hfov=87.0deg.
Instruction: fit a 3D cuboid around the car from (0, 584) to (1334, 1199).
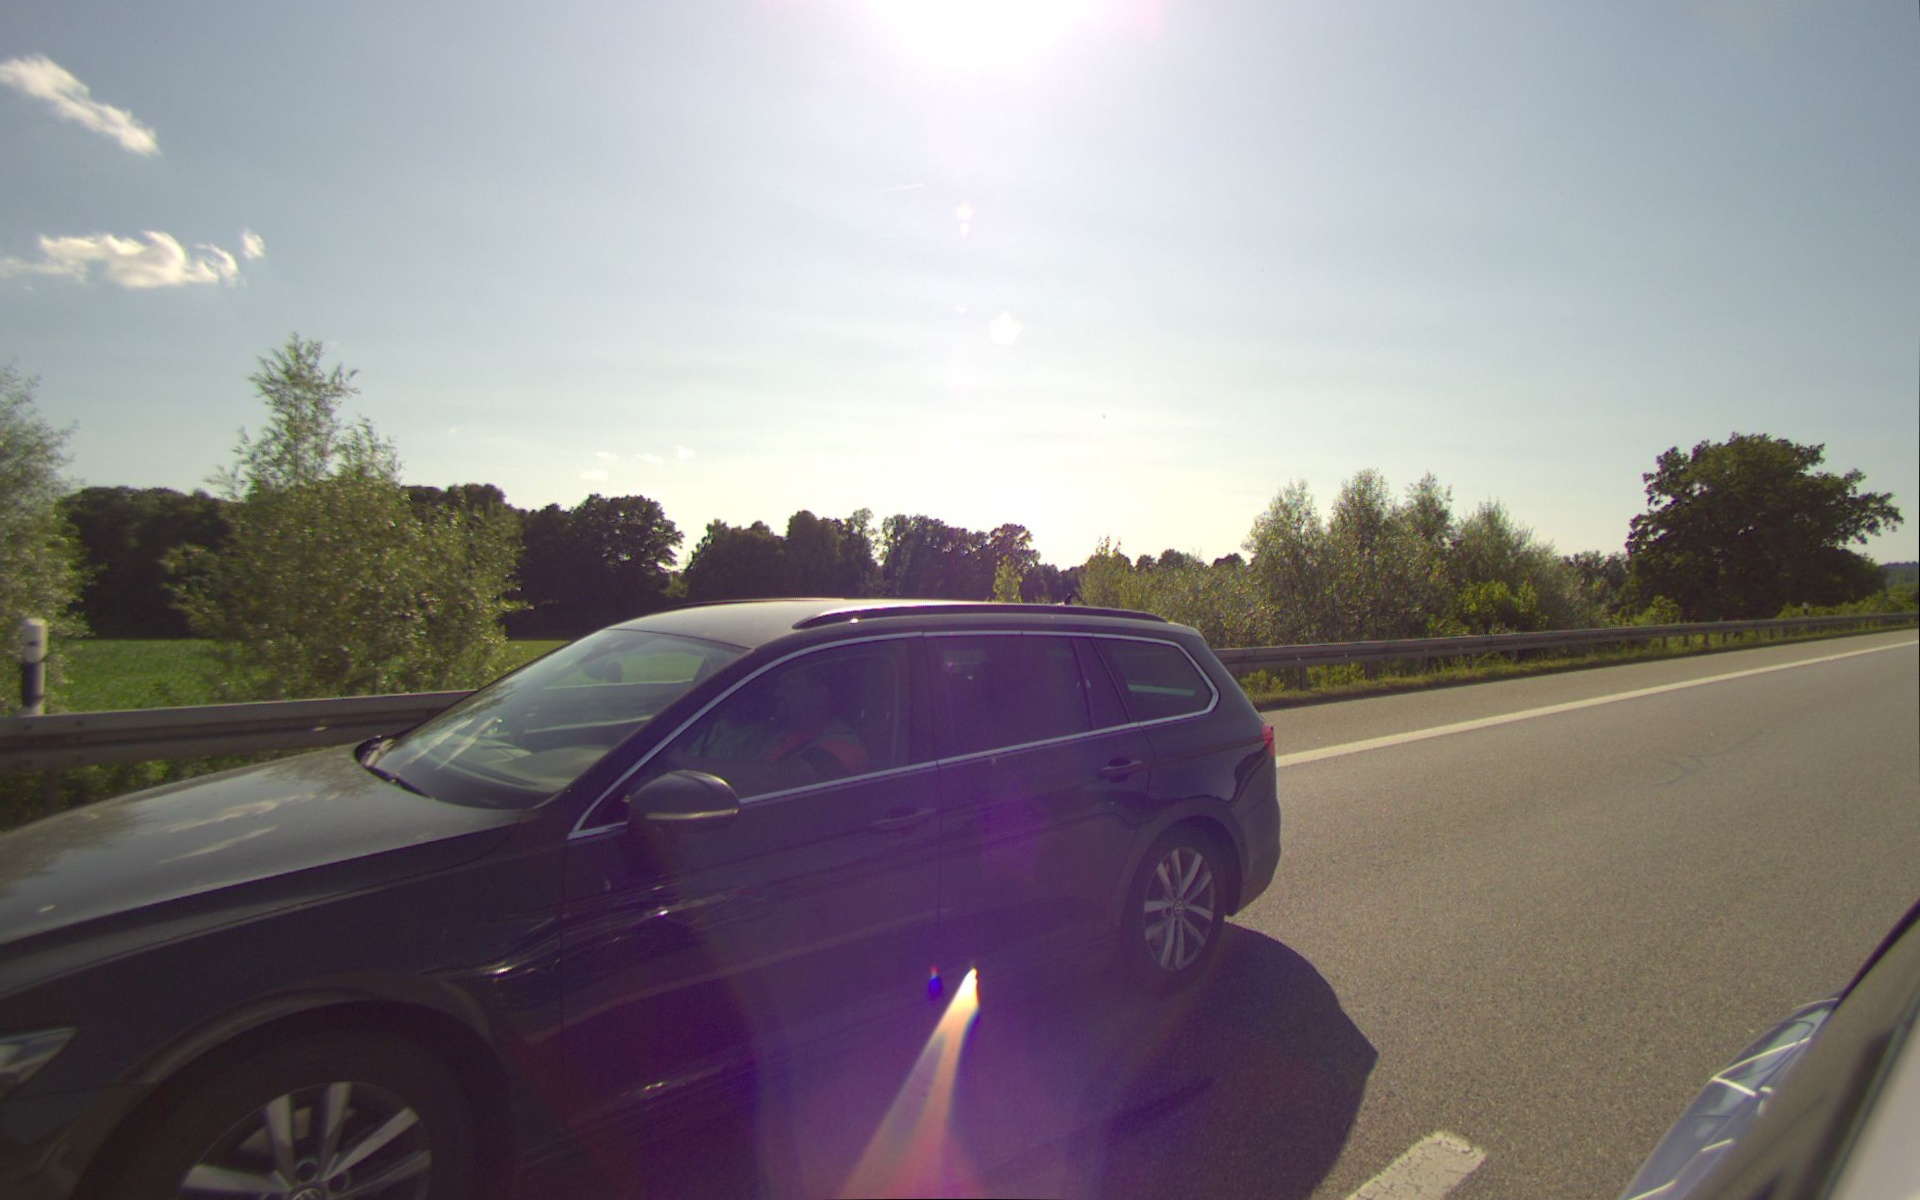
[{"bbox_3d":[-0.589,0.659,3.546,4.337,1.417,1.721,-1,1,-41],"label":"car"}]
